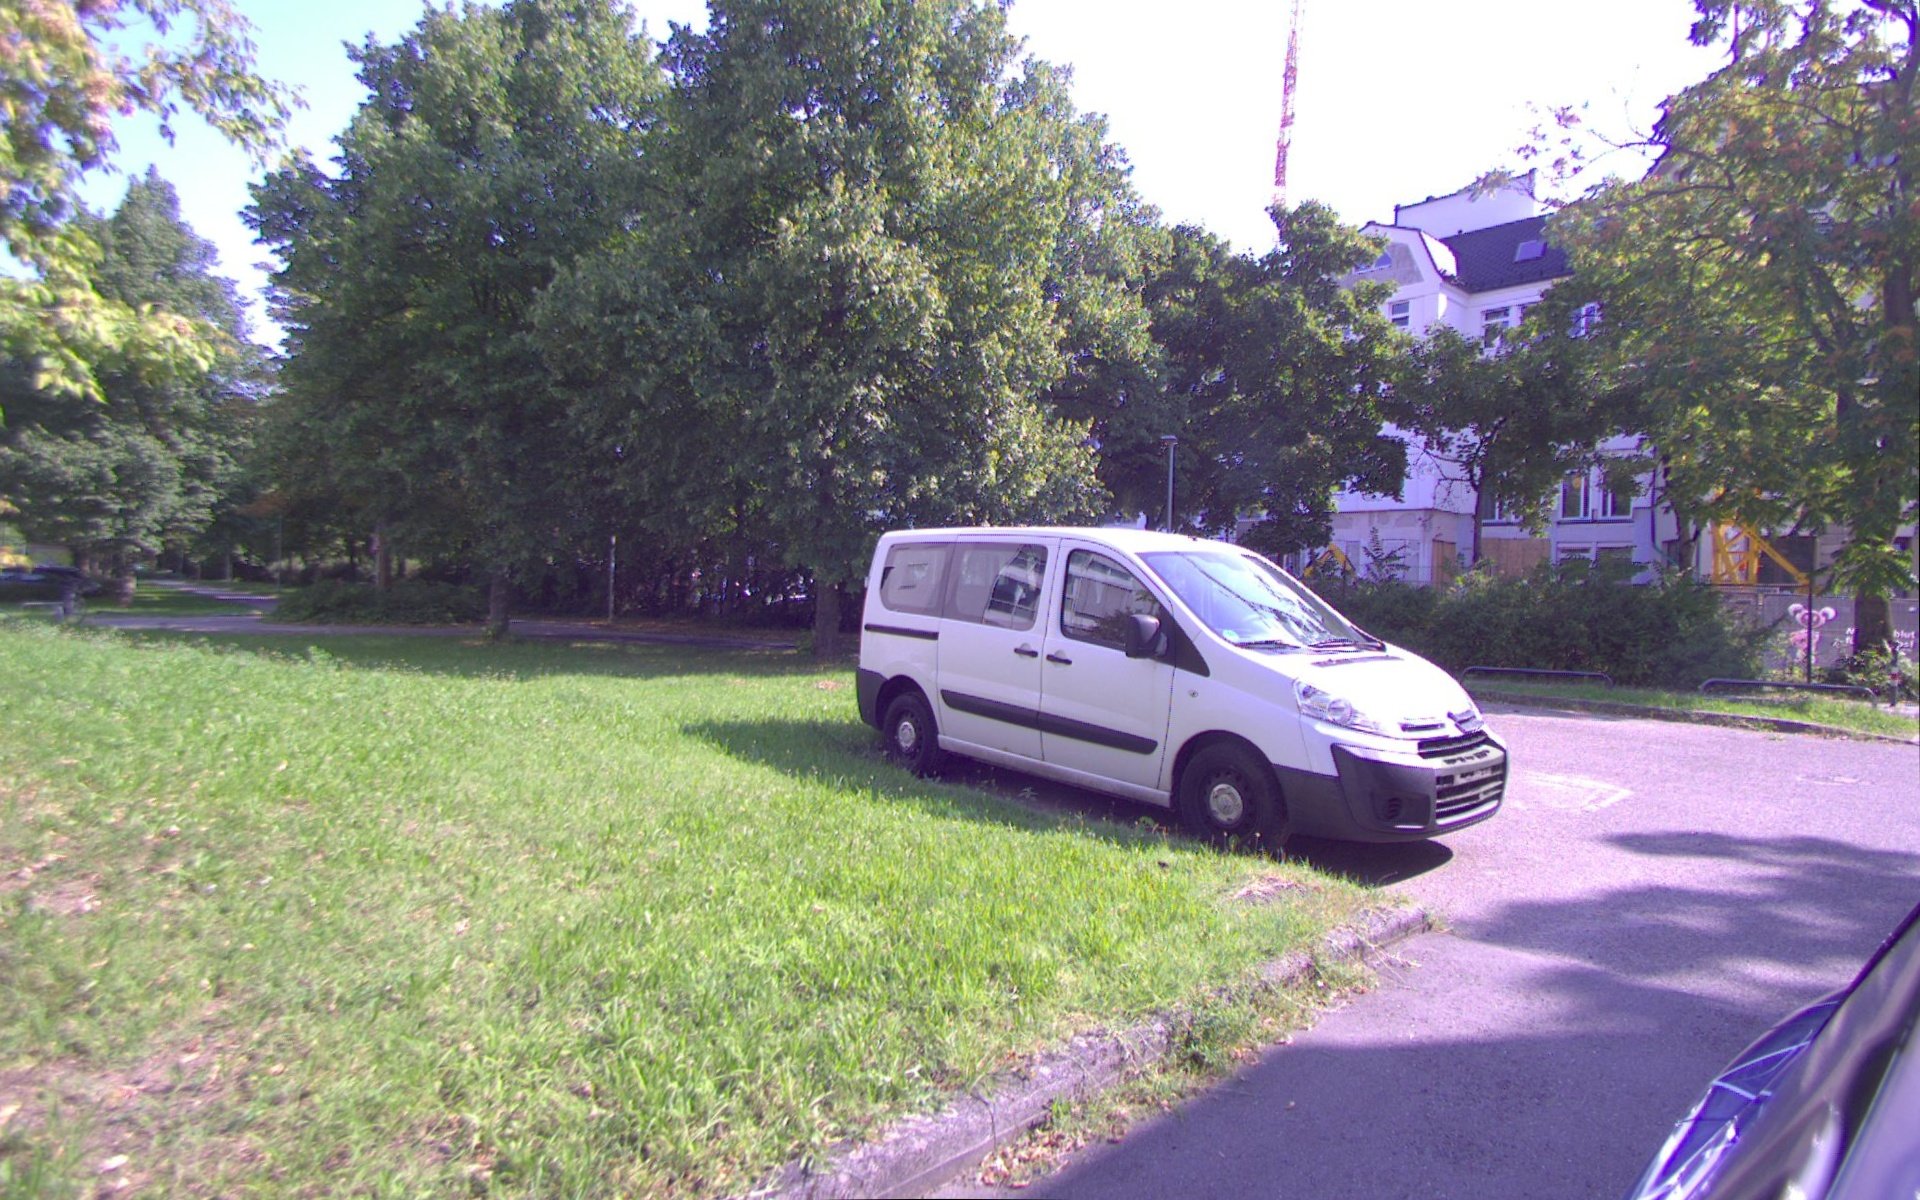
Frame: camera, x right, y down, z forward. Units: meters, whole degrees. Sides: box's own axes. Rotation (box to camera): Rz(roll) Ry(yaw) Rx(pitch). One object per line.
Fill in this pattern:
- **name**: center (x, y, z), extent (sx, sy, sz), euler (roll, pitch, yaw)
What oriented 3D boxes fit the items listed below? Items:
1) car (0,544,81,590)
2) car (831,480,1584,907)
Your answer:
- **car**: center (-43.393, -1.504, 46.926), extent (3.931, 2.039, 1.997), euler (1, 0, -42)
- **car**: center (1.277, 0.343, 7.176), extent (2.007, 1.944, 4.969), euler (0, 2, -39)
